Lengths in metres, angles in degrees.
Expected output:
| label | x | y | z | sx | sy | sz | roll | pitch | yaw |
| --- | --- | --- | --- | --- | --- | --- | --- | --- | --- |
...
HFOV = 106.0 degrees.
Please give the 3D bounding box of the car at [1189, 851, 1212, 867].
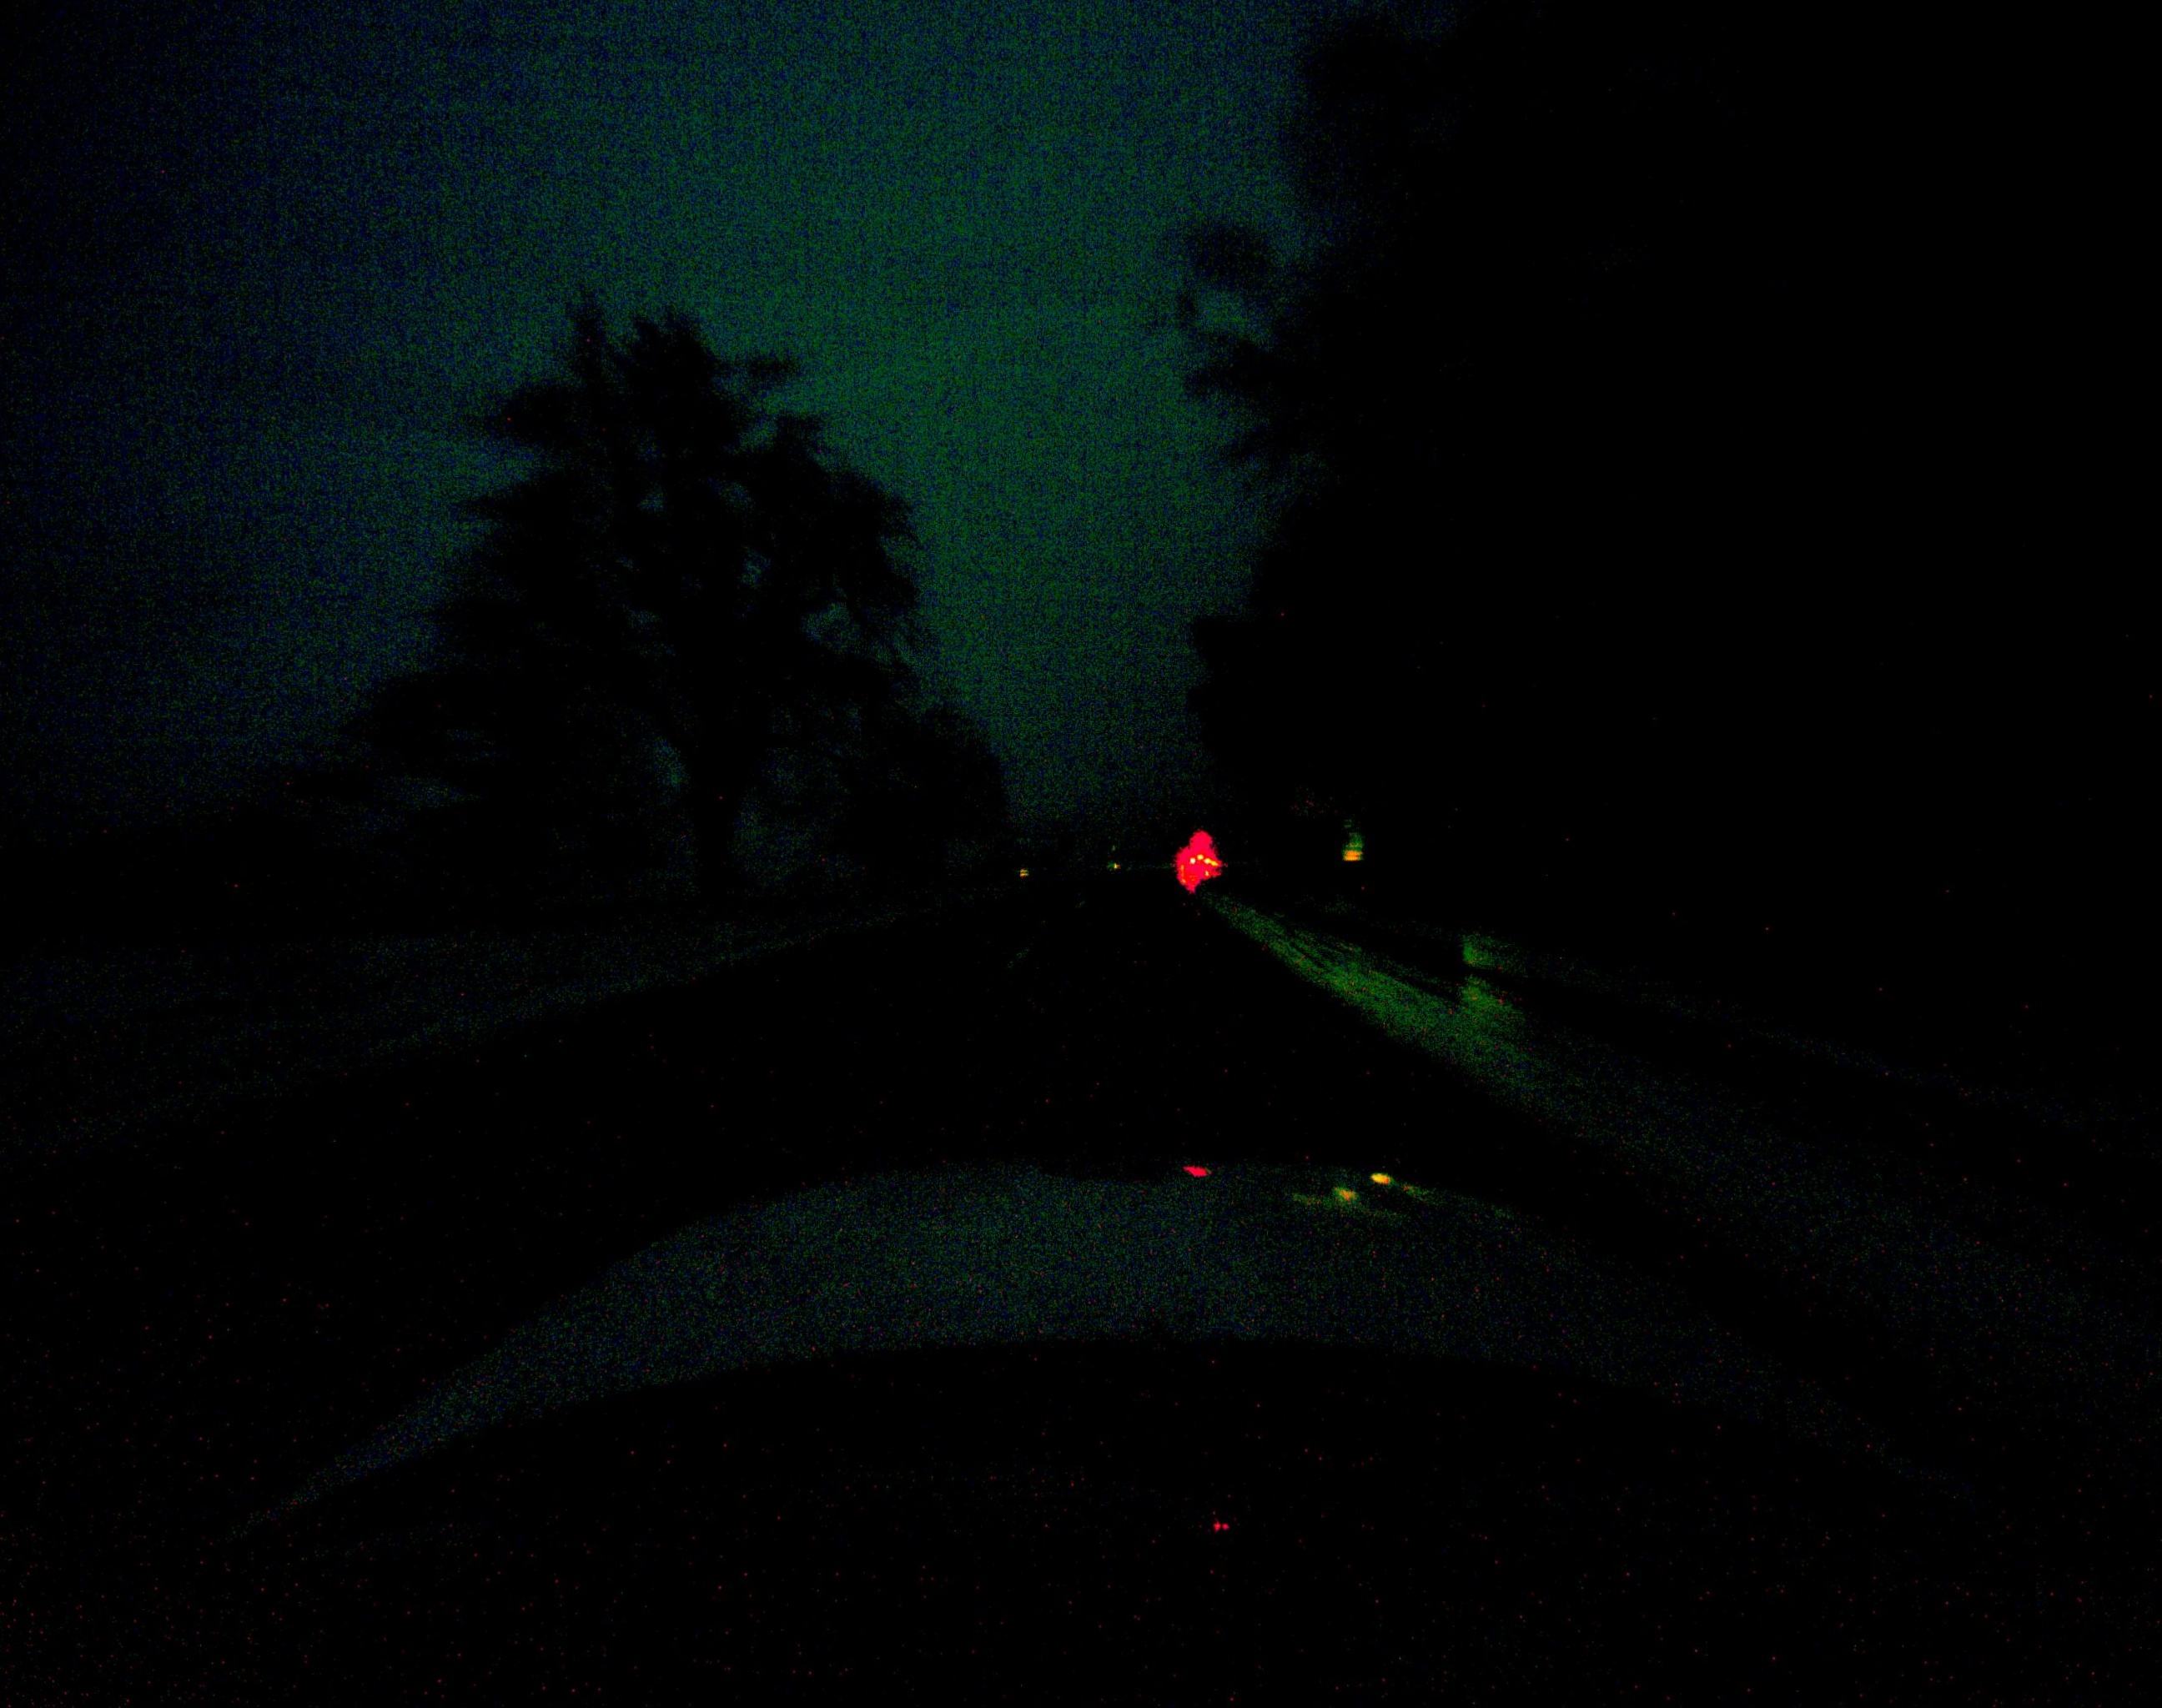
| label | x | y | z | sx | sy | sz | roll | pitch | yaw |
| --- | --- | --- | --- | --- | --- | --- | --- | --- | --- |
| car | 10.875 | 0.420 | 74.017 | 1.910 | 1.276 | 4.011 | -2 | 1 | 9 |
